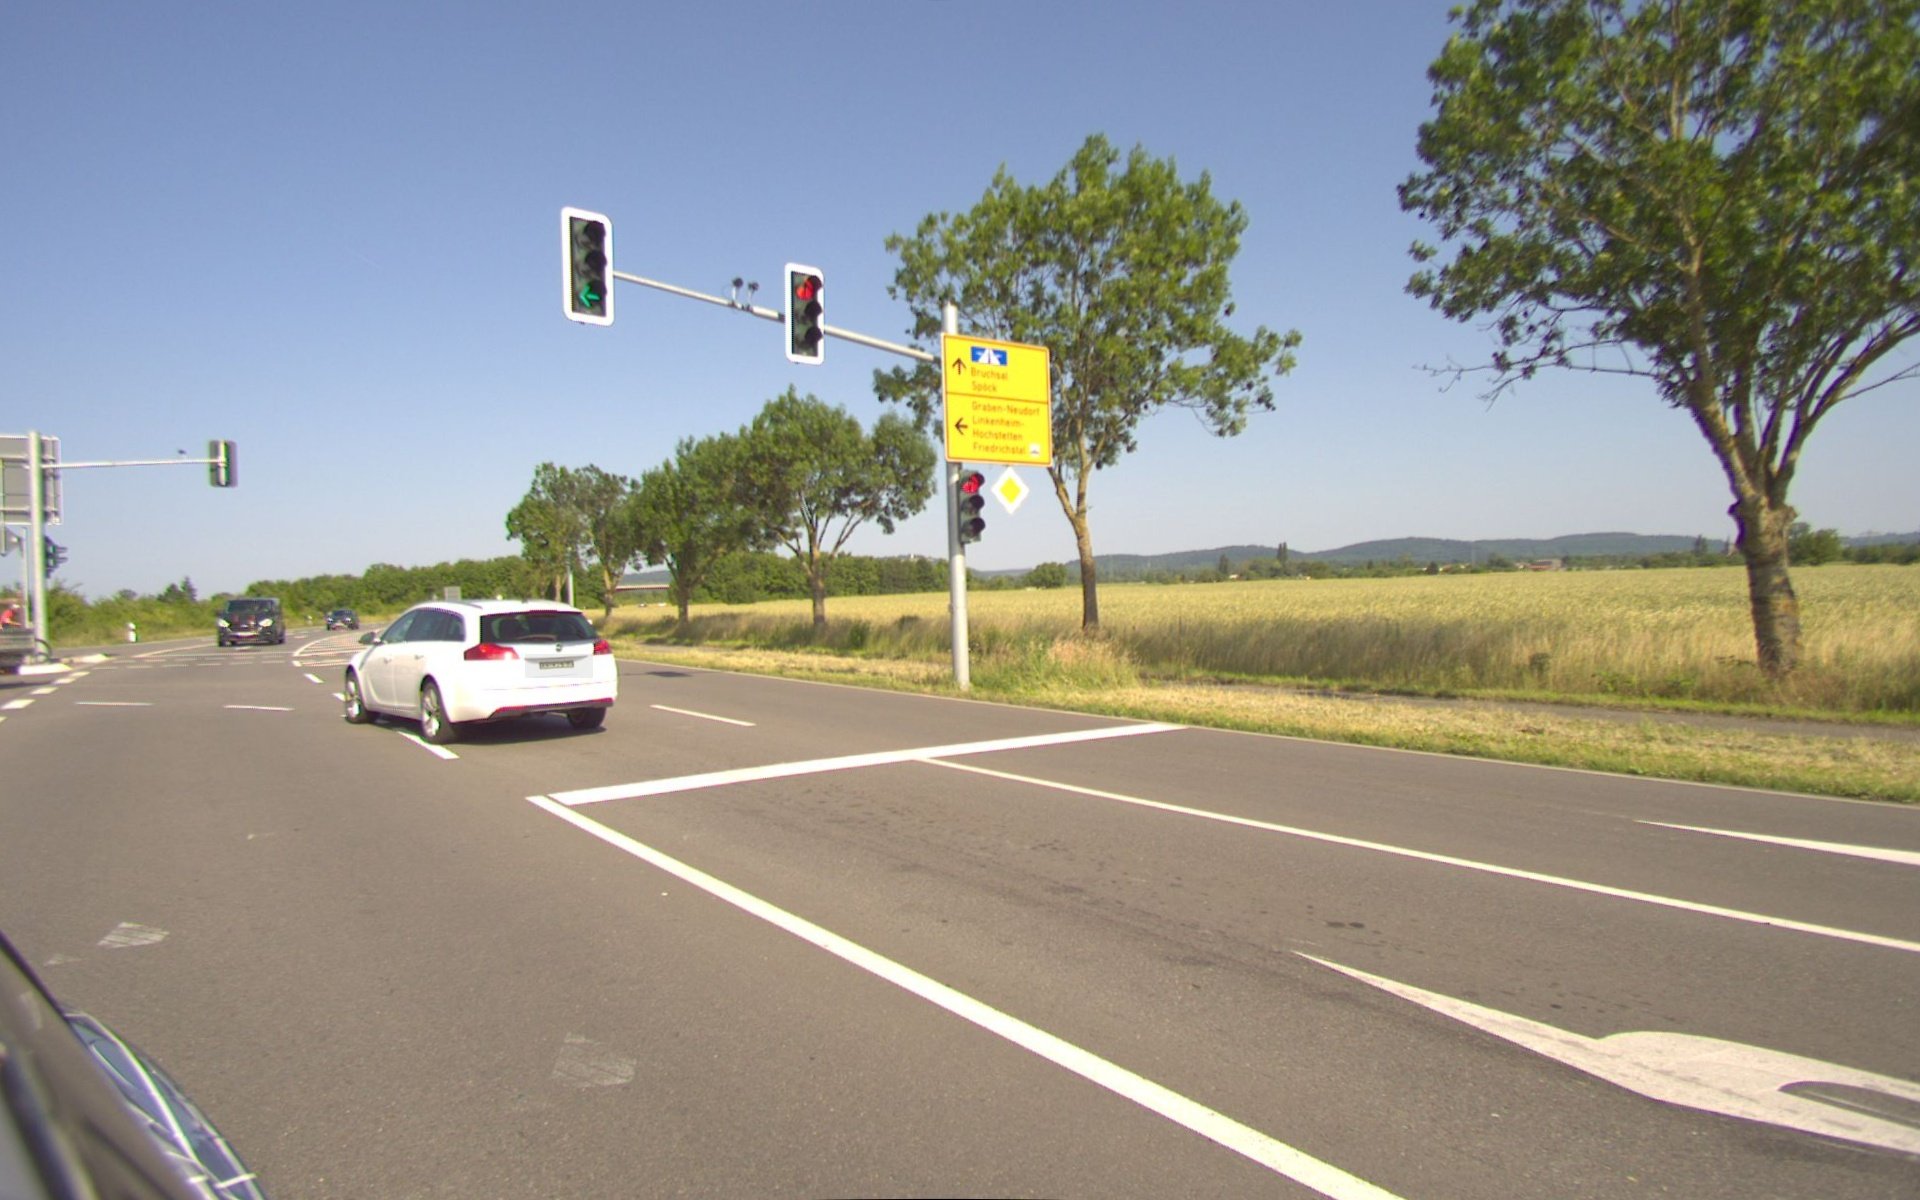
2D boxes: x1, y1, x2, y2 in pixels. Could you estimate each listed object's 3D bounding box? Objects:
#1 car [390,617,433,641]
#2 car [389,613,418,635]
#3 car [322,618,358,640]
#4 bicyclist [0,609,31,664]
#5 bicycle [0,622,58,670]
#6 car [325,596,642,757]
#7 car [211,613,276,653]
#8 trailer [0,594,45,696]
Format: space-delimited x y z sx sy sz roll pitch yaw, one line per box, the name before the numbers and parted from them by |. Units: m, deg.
car | -32.206 1.680 59.382 1.607 1.387 4.433 1 -1 -36
car | -43.738 1.888 79.575 1.858 1.638 4.013 1 -1 -27
car | -47.221 2.163 77.168 1.830 1.554 4.013 -1 0 -24
bicyclist | -23.999 0.902 25.280 1.056 1.362 0.860 0 0 -36
bicycle | -24.005 1.144 25.248 2.115 1.158 1.076 0 0 -36
car | -5.703 0.757 11.784 4.708 1.503 1.740 -1 0 43
car | -30.025 1.363 42.521 1.831 1.554 4.012 -1 0 -30
trailer | -18.945 0.805 17.059 4.930 1.751 1.985 -1 0 -10
